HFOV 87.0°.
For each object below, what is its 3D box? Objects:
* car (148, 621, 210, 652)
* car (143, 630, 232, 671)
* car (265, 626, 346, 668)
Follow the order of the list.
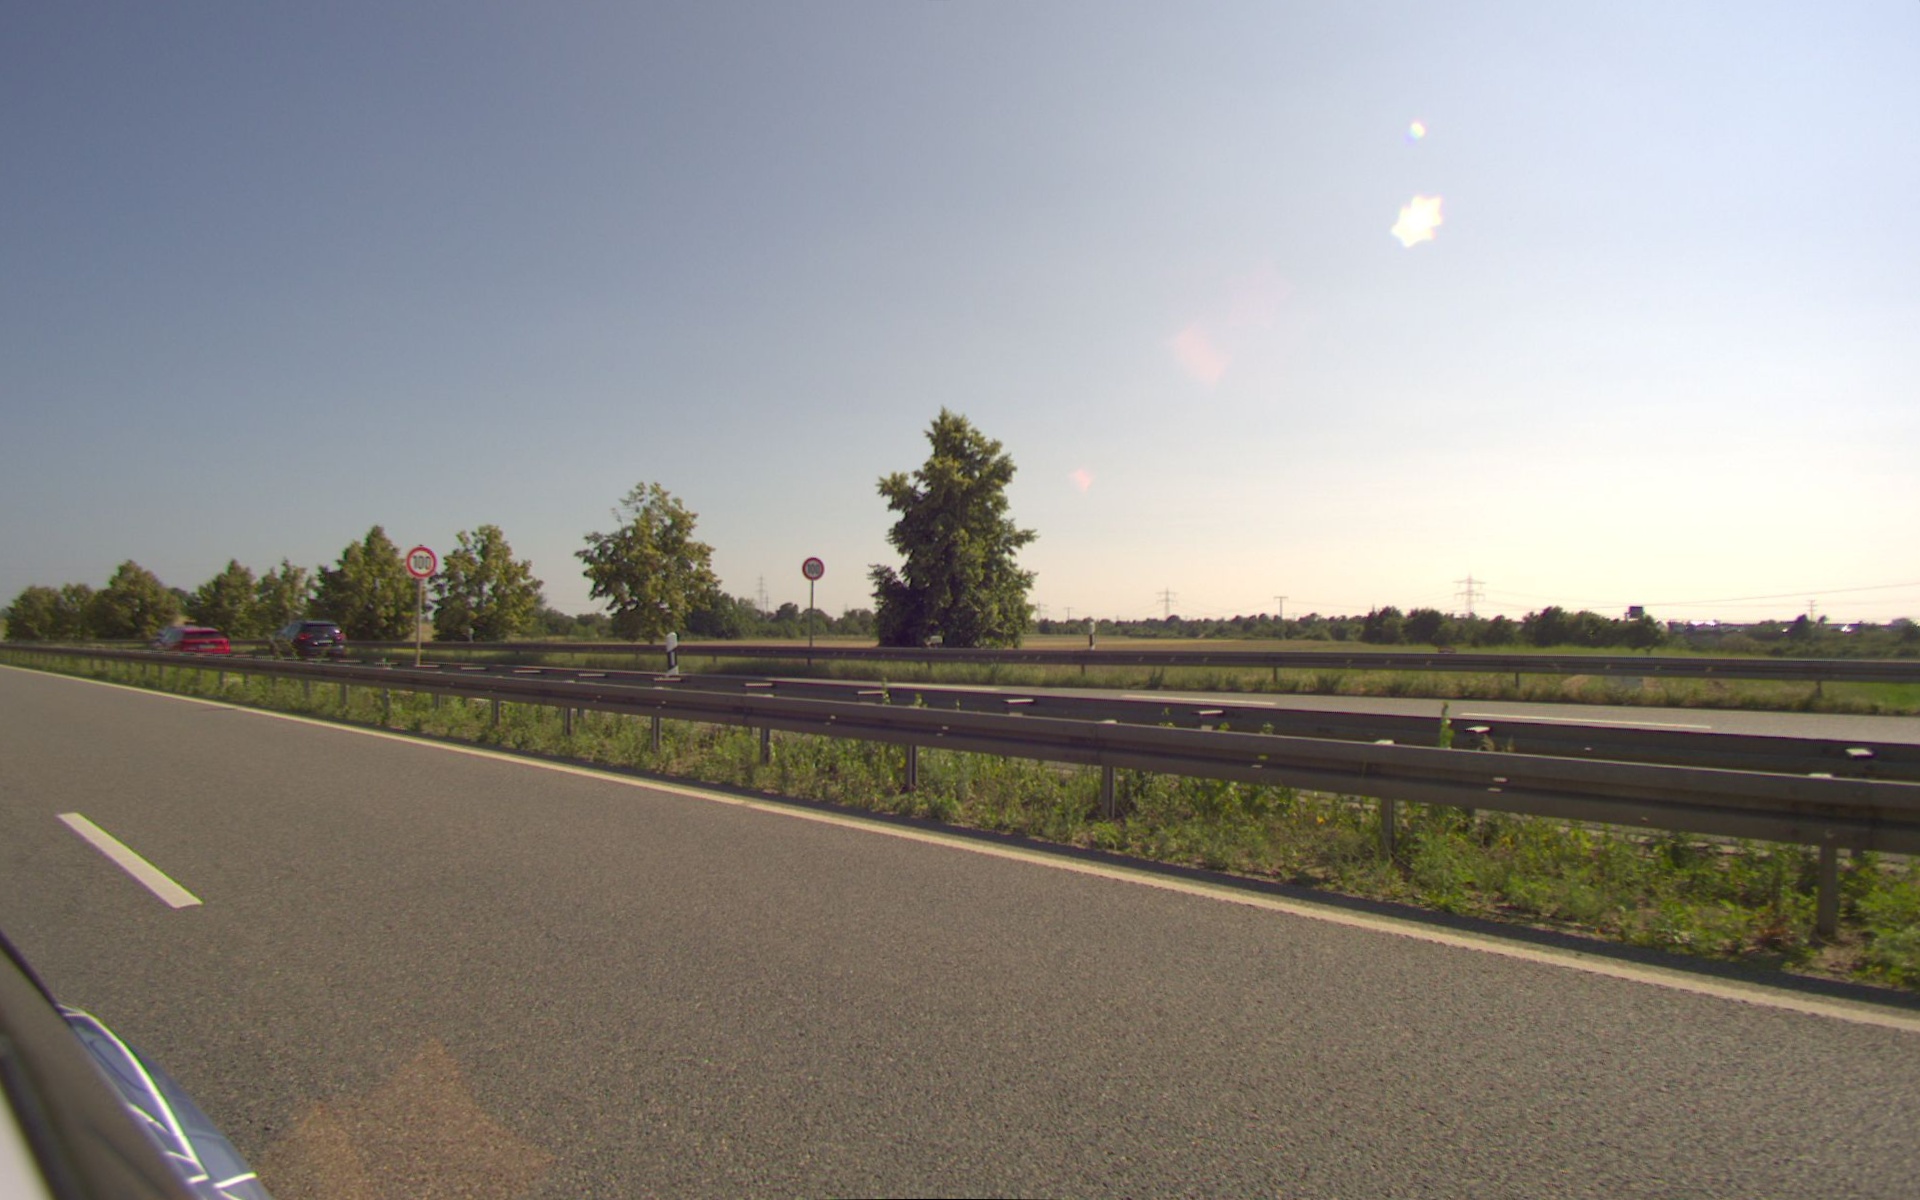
[{"bbox_3d":[-43.516,2.033,56.353,4.771,1.605,1.824,-2,-1,41],"label":"car"},{"bbox_3d":[-31.053,1.977,40.623,5.093,1.504,1.857,-1,-1,41],"label":"car"},{"bbox_3d":[-26.533,1.868,40.986,4.219,1.608,1.708,-2,-1,41],"label":"car"}]
